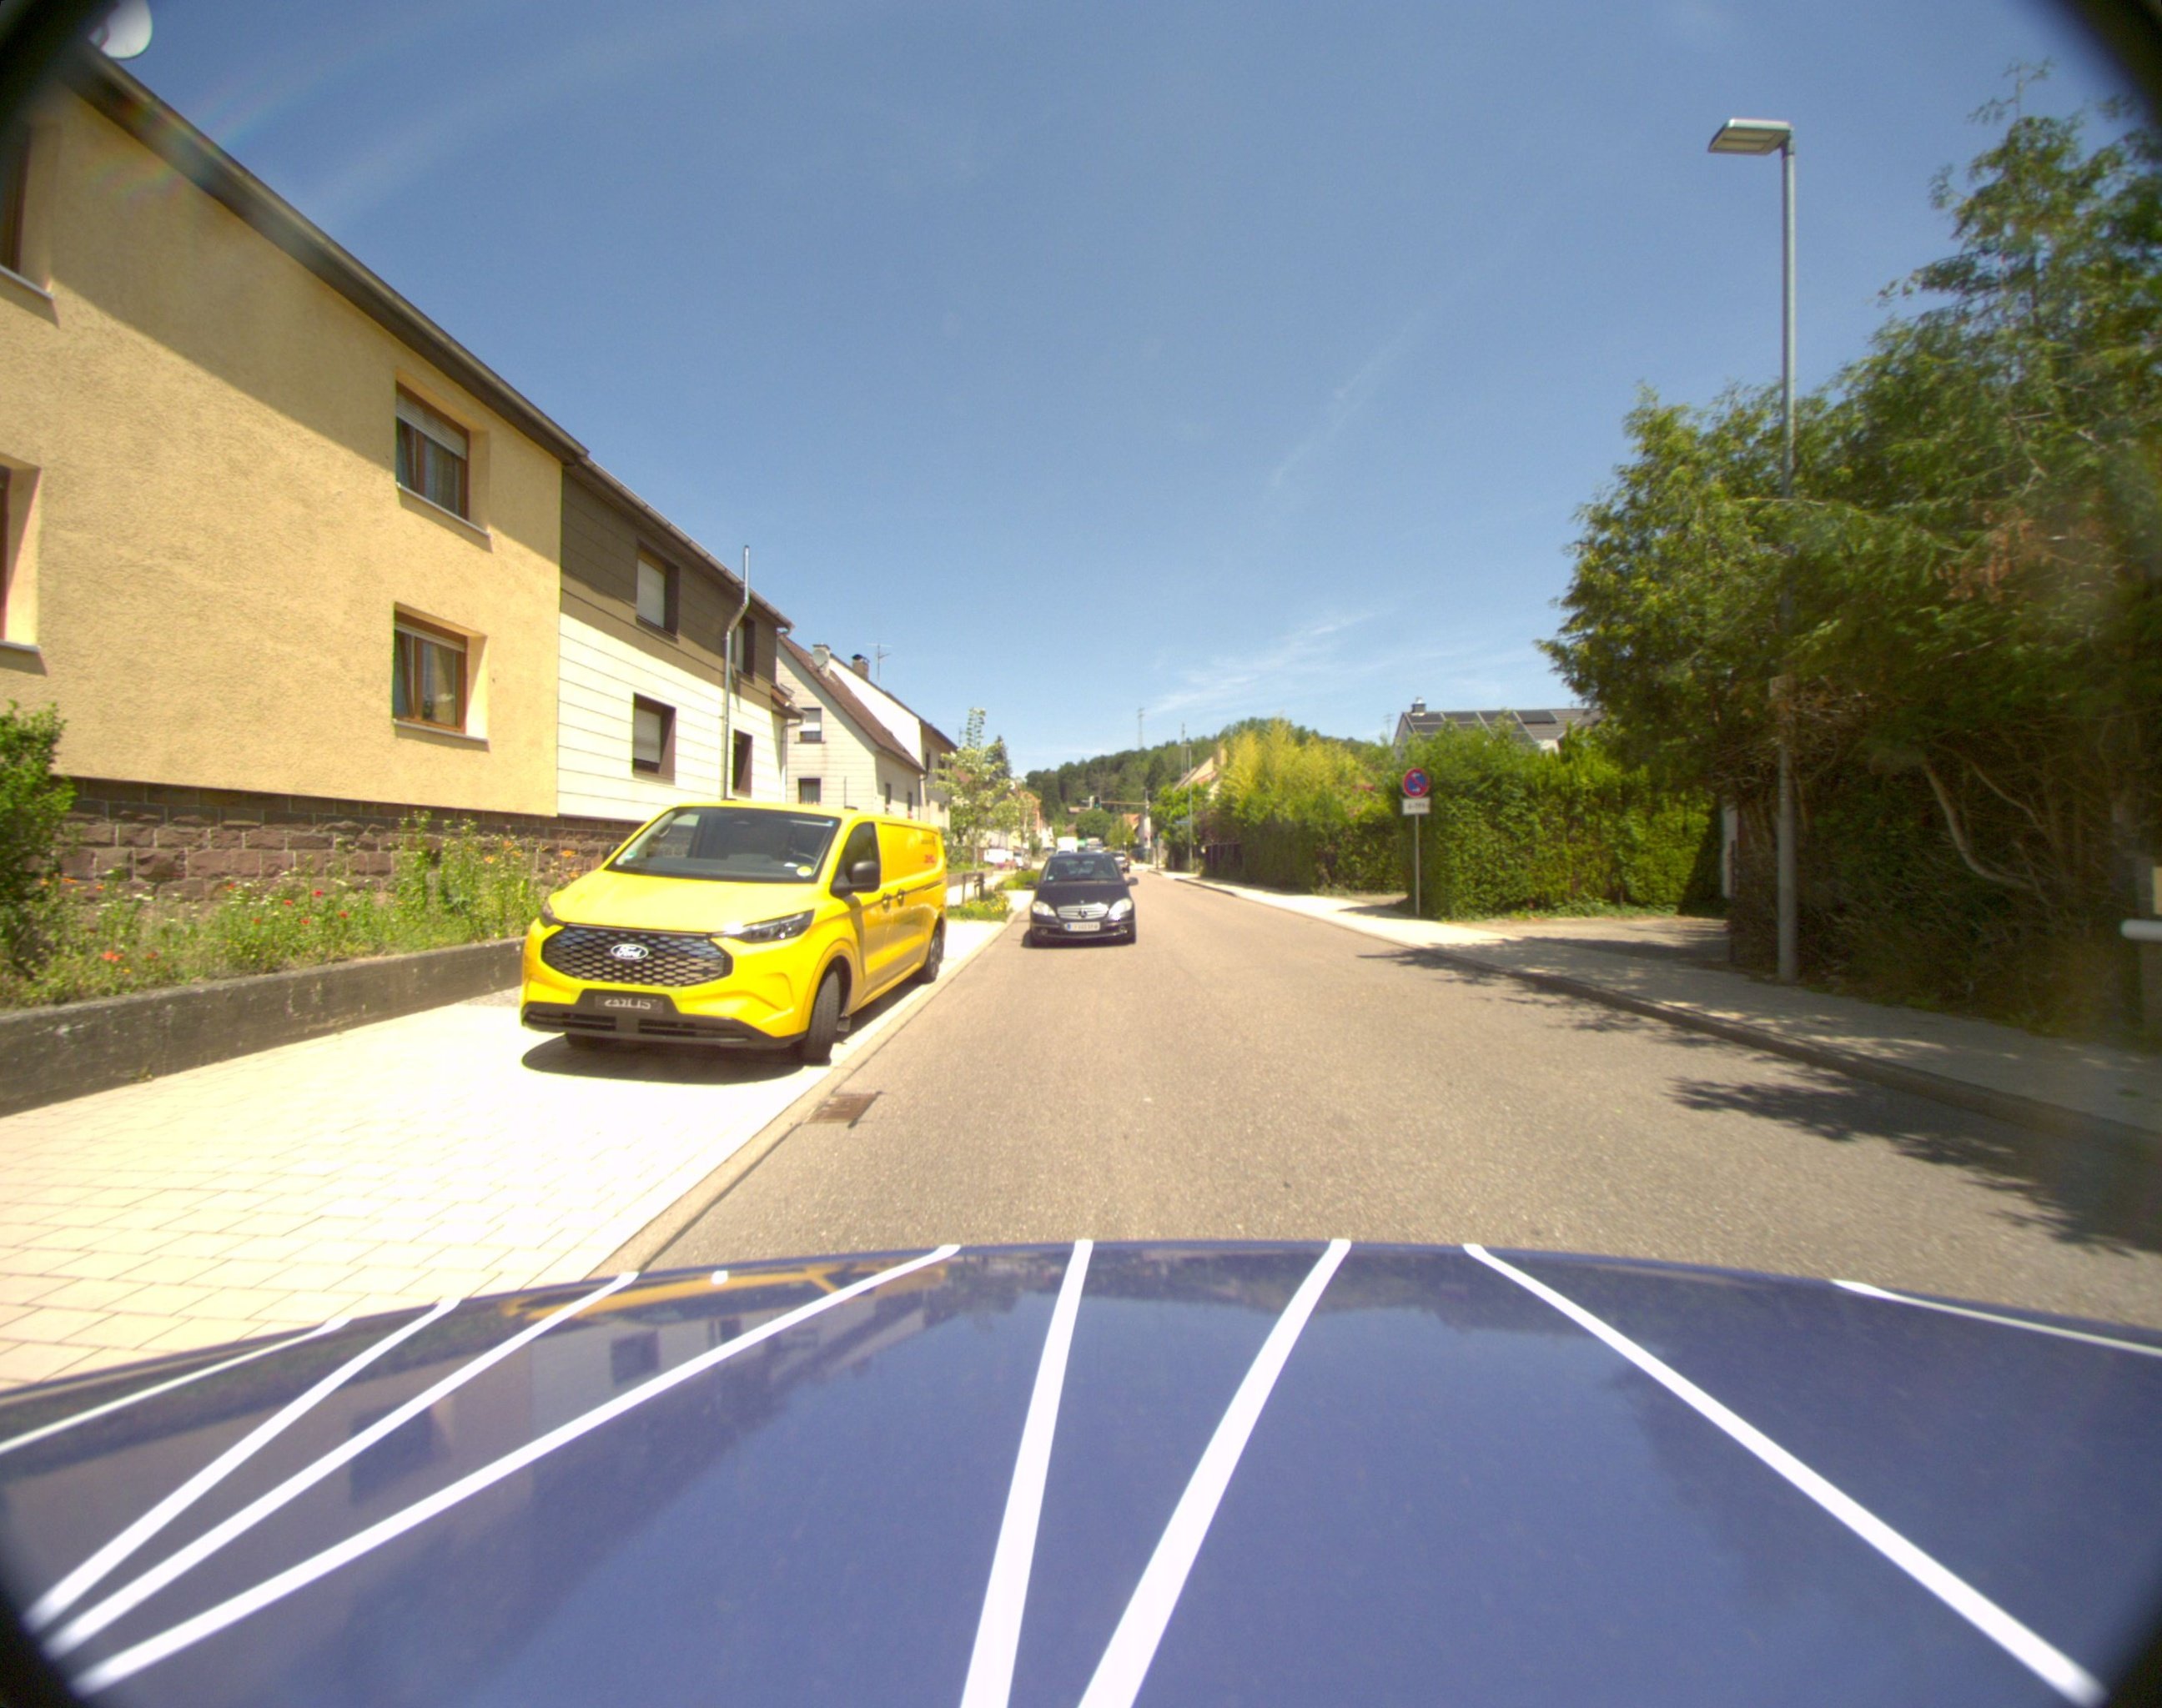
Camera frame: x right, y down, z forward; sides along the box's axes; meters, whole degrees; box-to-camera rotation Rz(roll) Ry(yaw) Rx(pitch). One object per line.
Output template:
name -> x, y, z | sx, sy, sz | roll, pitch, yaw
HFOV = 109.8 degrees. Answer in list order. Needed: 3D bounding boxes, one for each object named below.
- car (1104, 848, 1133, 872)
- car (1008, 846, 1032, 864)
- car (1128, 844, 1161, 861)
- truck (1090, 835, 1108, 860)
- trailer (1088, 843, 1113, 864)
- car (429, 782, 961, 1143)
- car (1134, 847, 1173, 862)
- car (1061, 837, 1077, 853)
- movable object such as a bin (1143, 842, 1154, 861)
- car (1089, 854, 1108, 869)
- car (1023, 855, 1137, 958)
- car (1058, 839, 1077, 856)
car -> 2.742, 0.416, 55.908 | 1.872, 1.643, 3.948 | -2, 0, 0
car -> -6.258, 0.085, 78.505 | 1.867, 1.612, 4.507 | 3, 1, 2
car -> 7.428, -0.159, 88.950 | 3.606, 1.780, 1.848 | -2, 1, -1
truck -> 2.790, -0.959, 115.132 | 2.548, 3.716, 8.622 | 0, 1, 2
trailer -> 1.945, -0.068, 77.173 | 2.161, 1.975, 6.199 | -2, 1, -1
car -> -2.721, 0.593, 7.278 | 2.195, 2.002, 5.621 | 4, 1, -1
car -> 8.079, 0.047, 84.740 | 4.040, 1.491, 1.707 | -1, 2, 39
car -> -1.648, -1.245, 105.335 | 1.986, 2.170, 4.000 | -2, 1, 3
movable object such as a bin -> 7.374, -0.282, 83.050 | 1.062, 2.002, 1.323 | -2, 2, 0
car -> 1.830, 0.781, 82.207 | 1.771, 1.394, 4.245 | -2, 2, -1
car -> 0.049, 0.839, 14.574 | 1.767, 1.572, 4.931 | -2, 0, 2
car -> -1.442, -0.687, 83.743 | 1.999, 1.716, 3.999 | -2, 1, -1
